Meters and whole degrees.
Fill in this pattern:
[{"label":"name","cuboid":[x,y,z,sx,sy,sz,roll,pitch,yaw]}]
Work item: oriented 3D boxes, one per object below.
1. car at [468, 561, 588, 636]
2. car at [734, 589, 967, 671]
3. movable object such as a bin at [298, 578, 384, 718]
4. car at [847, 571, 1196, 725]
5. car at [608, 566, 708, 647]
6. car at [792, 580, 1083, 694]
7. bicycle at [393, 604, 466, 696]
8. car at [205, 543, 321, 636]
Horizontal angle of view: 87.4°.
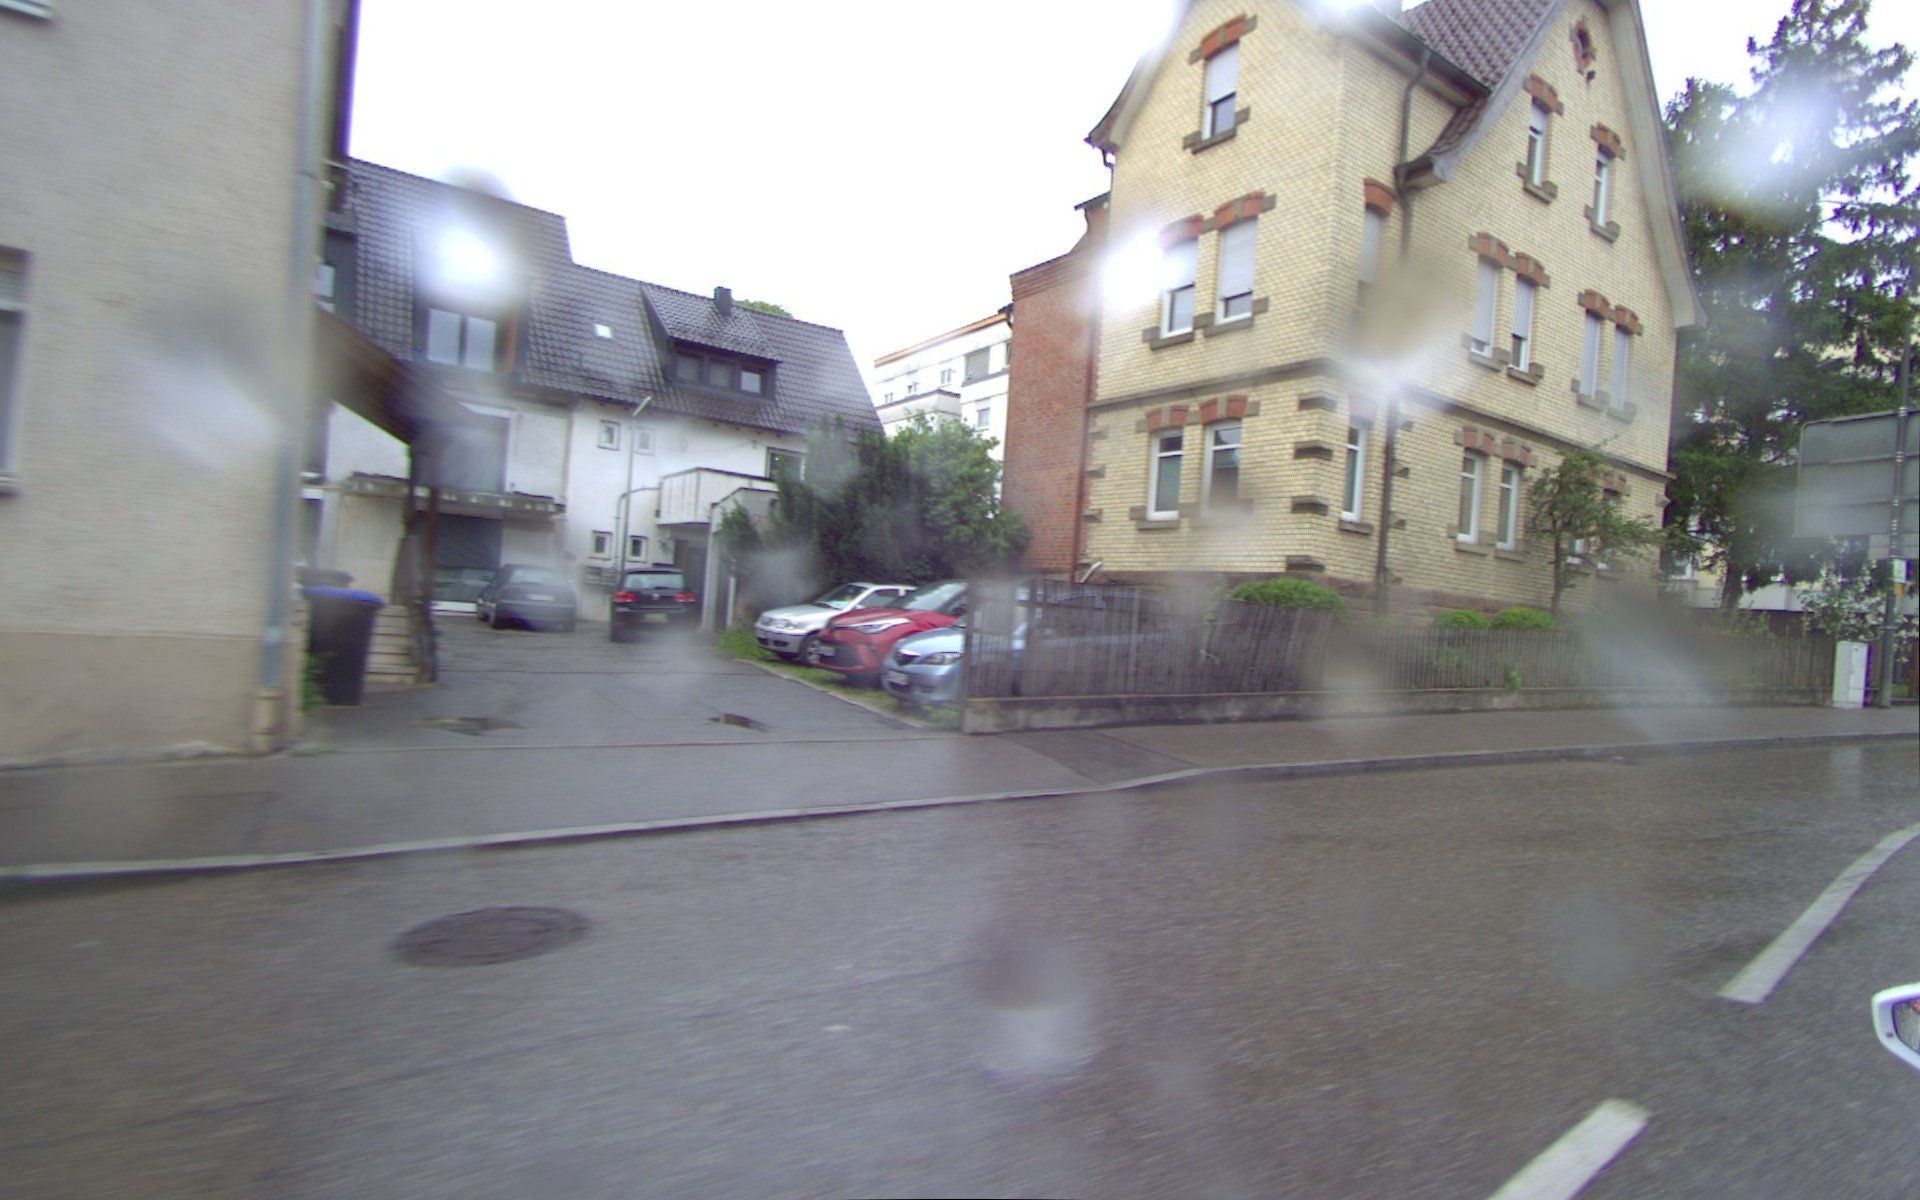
[{"label":"car","cuboid":[-9.793,-0.080,22.637,1.825,1.486,3.540,1,2,-34]},{"label":"car","cuboid":[-1.828,0.481,17.082,3.538,1.181,1.707,1,2,-34]},{"label":"movable object such as a bin","cuboid":[-5.874,0.435,9.531,0.643,1.264,0.751,2,0,-33]},{"label":"car","cuboid":[0.783,0.503,12.007,3.840,1.523,1.760,1,2,-32]},{"label":"car","cuboid":[-6.432,0.077,21.140,1.816,1.486,3.558,2,2,-20]},{"label":"car","cuboid":[-0.283,0.485,14.504,3.842,1.386,1.759,1,2,-34]},{"label":"bicycle","cuboid":[-6.543,0.576,12.337,0.574,1.011,1.944,1,0,-34]},{"label":"car","cuboid":[-13.826,-0.242,19.981,1.748,1.622,3.227,2,3,-35]}]
